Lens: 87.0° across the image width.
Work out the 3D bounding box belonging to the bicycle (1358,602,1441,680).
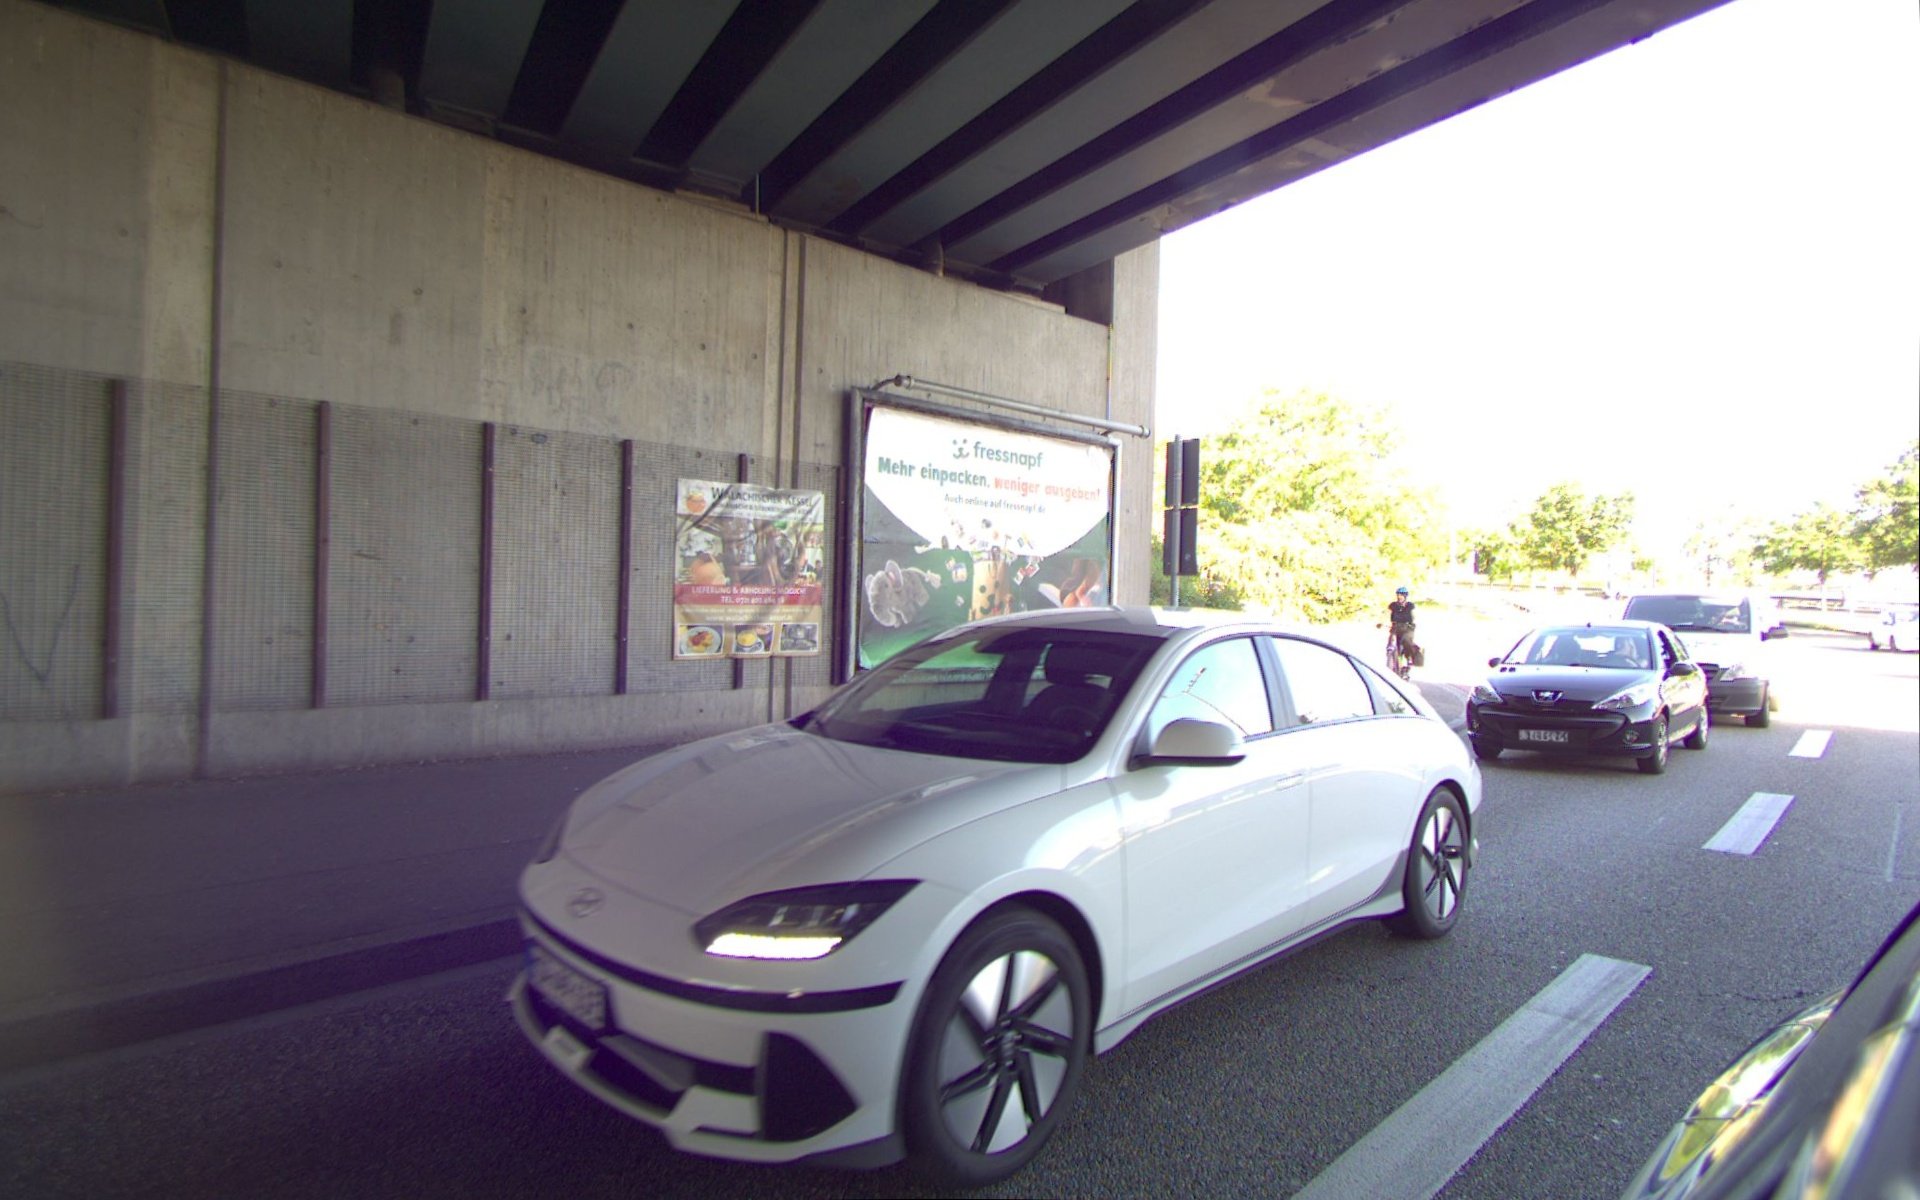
[{"bbox_3d":[7.290,0.653,16.754,0.651,1.181,1.750,4,2,43],"label":"bicycle"}]

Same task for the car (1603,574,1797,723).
[{"bbox_3d":[11.096,0.596,15.023,1.896,1.859,4.762,0,0,42],"label":"car"}]

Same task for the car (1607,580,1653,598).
[{"bbox_3d":[63.375,-1.037,95.824,1.774,1.626,4.290,1,1,5],"label":"car"}]

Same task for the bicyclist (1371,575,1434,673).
[{"bbox_3d":[7.349,0.390,16.799,0.653,1.552,0.833,4,2,43],"label":"bicyclist"}]

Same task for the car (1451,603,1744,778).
[{"bbox_3d":[6.733,0.781,10.553,3.654,1.474,1.747,0,0,-43],"label":"car"}]

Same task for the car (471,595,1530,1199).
[{"bbox_3d":[0.644,0.727,4.267,4.585,1.474,1.748,0,0,-43],"label":"car"}]

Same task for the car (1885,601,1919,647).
[{"bbox_3d":[32.290,0.764,33.659,1.726,1.421,3.823,0,1,35],"label":"car"}]

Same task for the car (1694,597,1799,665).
[{"bbox_3d":[20.300,0.720,26.116,1.990,1.570,4.359,0,1,39],"label":"car"}]

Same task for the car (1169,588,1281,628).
[{"bbox_3d":[11.123,0.309,42.649,4.469,1.616,1.812,1,0,15],"label":"car"}]
